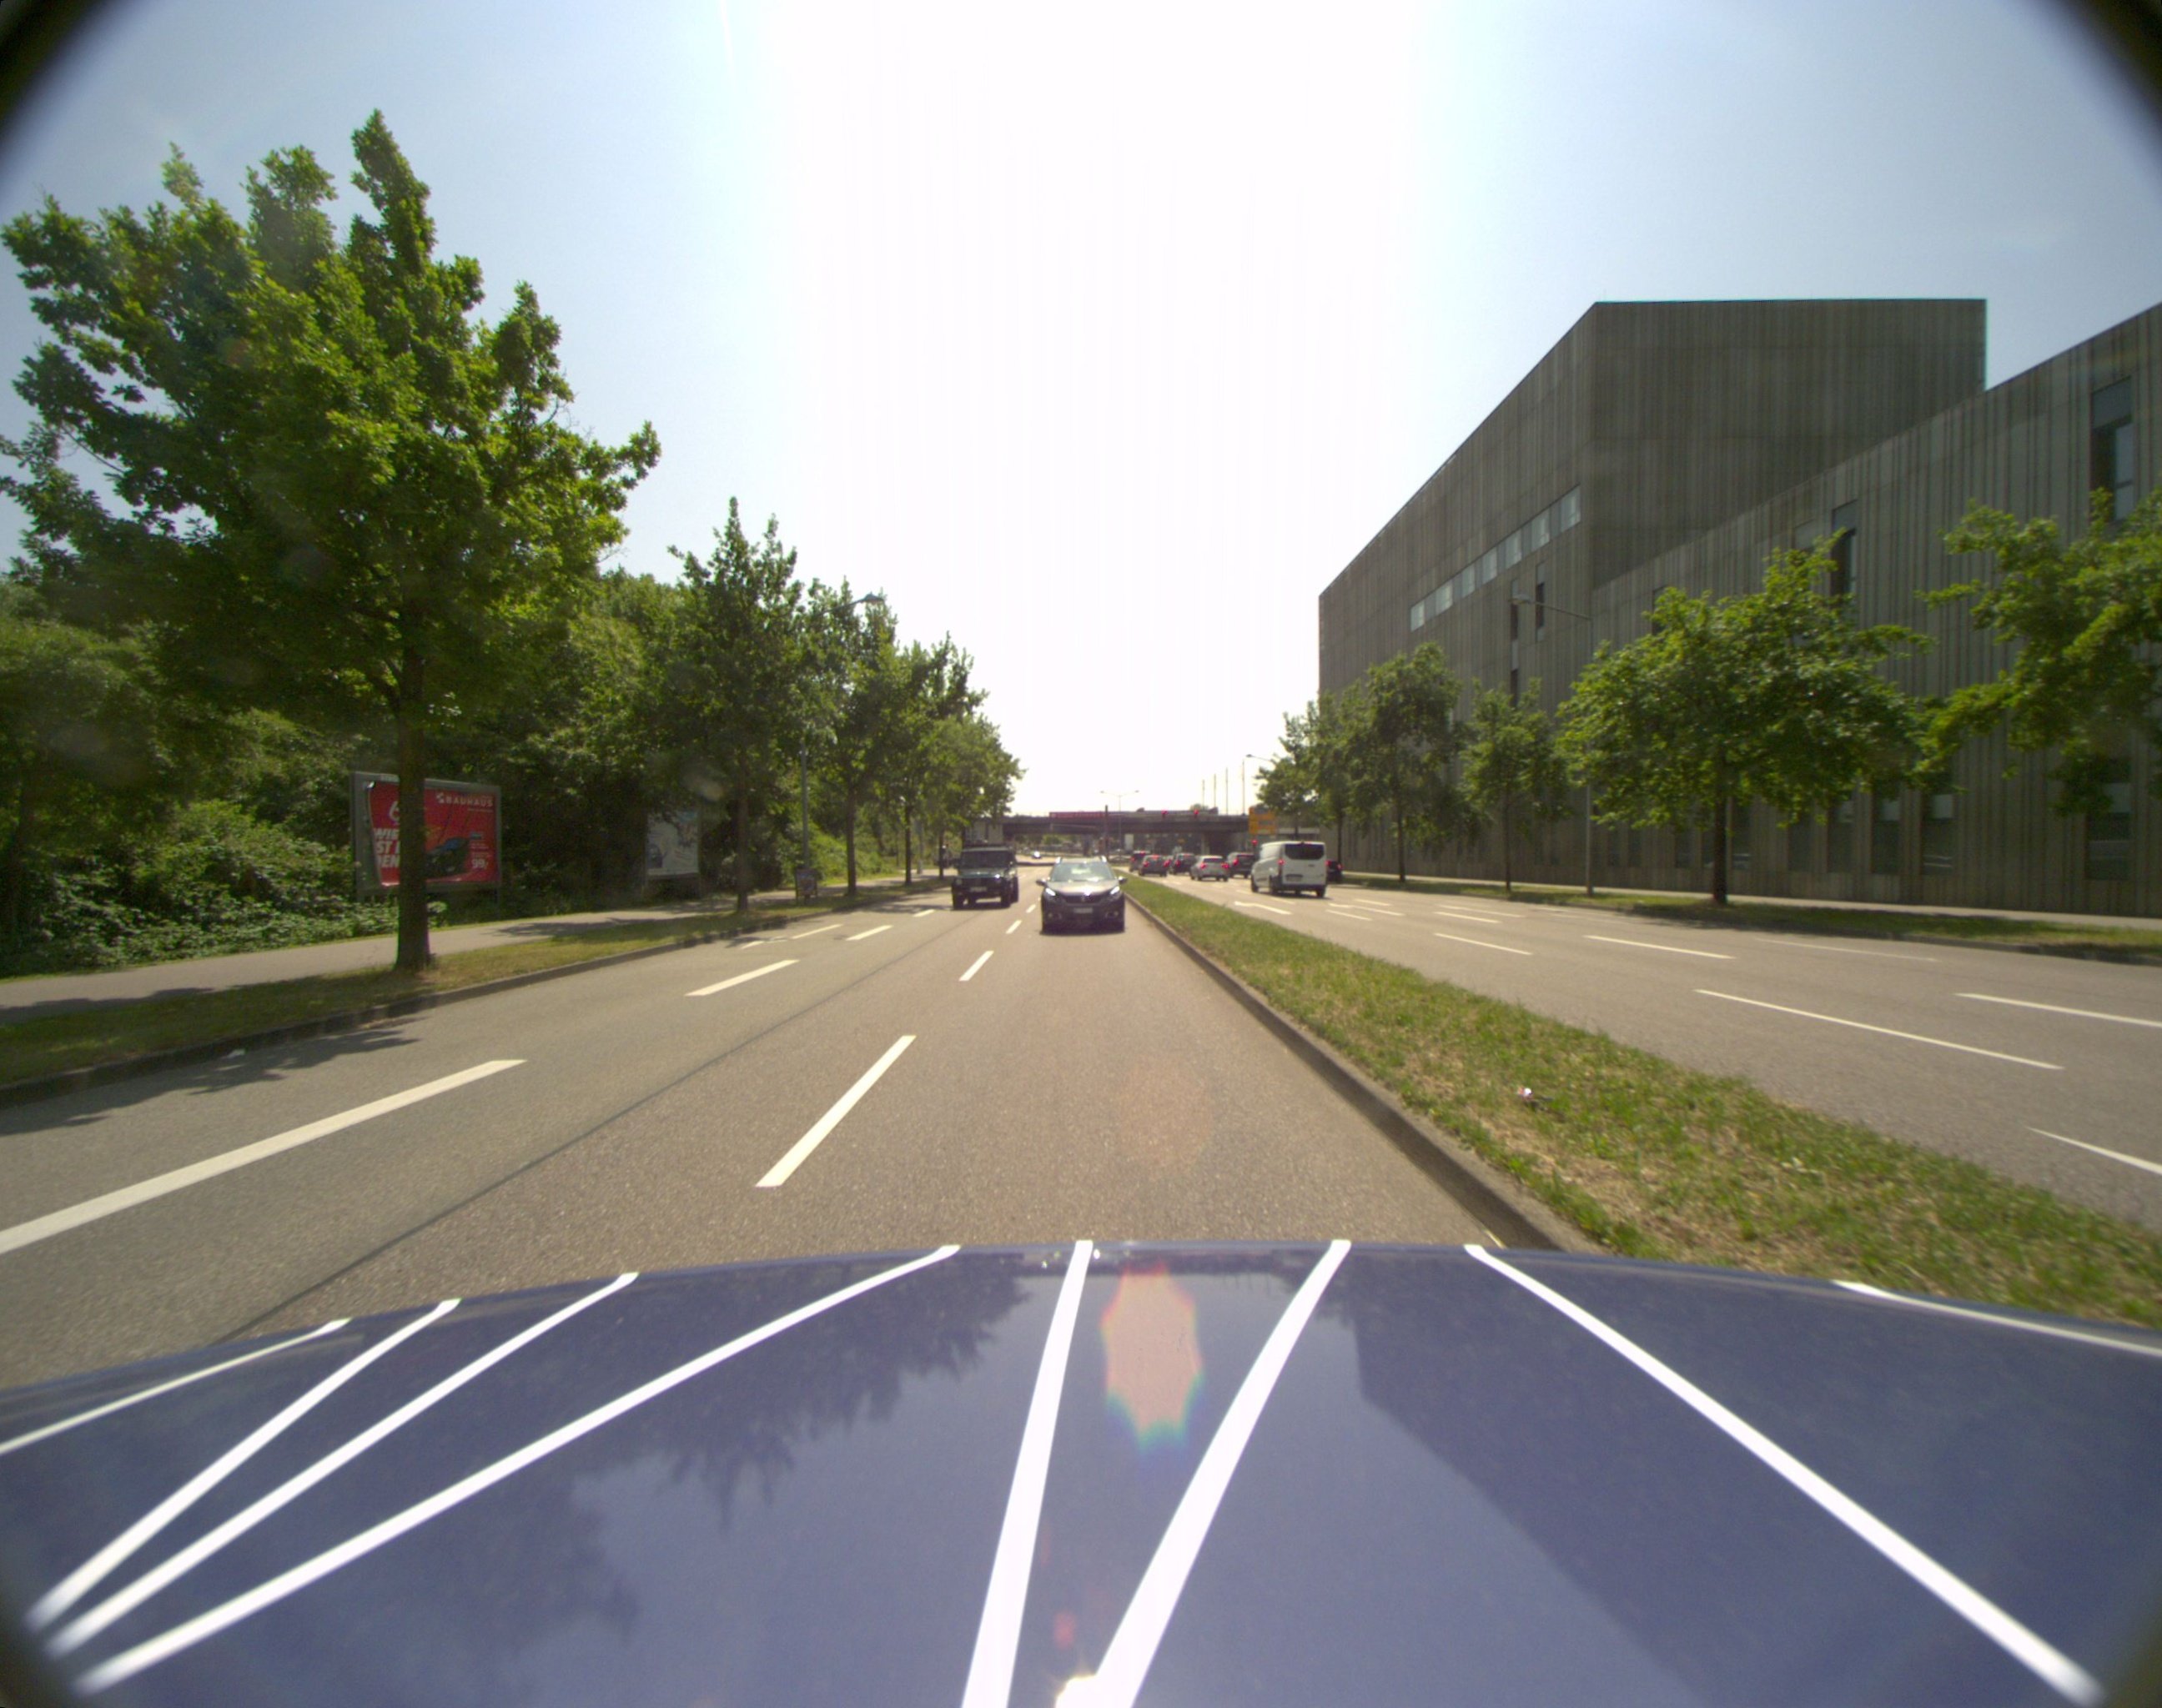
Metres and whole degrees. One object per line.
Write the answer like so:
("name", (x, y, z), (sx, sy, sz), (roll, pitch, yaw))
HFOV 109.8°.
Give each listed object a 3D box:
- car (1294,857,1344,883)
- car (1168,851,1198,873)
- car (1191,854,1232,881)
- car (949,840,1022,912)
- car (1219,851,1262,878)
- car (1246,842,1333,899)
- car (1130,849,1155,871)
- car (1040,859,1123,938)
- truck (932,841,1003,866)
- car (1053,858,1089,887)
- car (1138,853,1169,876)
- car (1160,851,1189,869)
("car", (13.725, 0.886, 43.999), (1.625, 1.447, 4.017), (0, 0, -1))
("car", (7.780, 0.577, 58.227), (1.807, 1.653, 4.573), (1, 0, 2))
("car", (7.736, 0.769, 45.412), (1.770, 1.452, 4.145), (1, 0, 0))
("car", (-3.040, 0.640, 25.133), (1.841, 2.141, 4.557), (-1, 1, 0))
("car", (11.012, 0.678, 52.680), (1.815, 1.736, 4.645), (1, 0, -2))
("car", (7.862, 0.568, 29.110), (1.914, 1.981, 4.897), (1, 0, 0))
("car", (5.237, 0.529, 65.159), (1.815, 1.790, 4.714), (1, 0, 1))
("car", (0.100, 0.888, 17.088), (1.619, 1.503, 4.459), (0, 0, 2))
("truck", (-14.678, -0.061, 98.404), (8.525, 2.899, 2.882), (-2, 1, -22))
("car", (-0.515, 0.958, 41.507), (1.817, 1.456, 4.000), (0, 0, 0))
("car", (5.013, 0.704, 53.056), (1.815, 1.458, 4.057), (1, 0, 0))
("car", (7.979, 0.479, 65.268), (1.815, 1.437, 4.249), (1, 0, -2))
